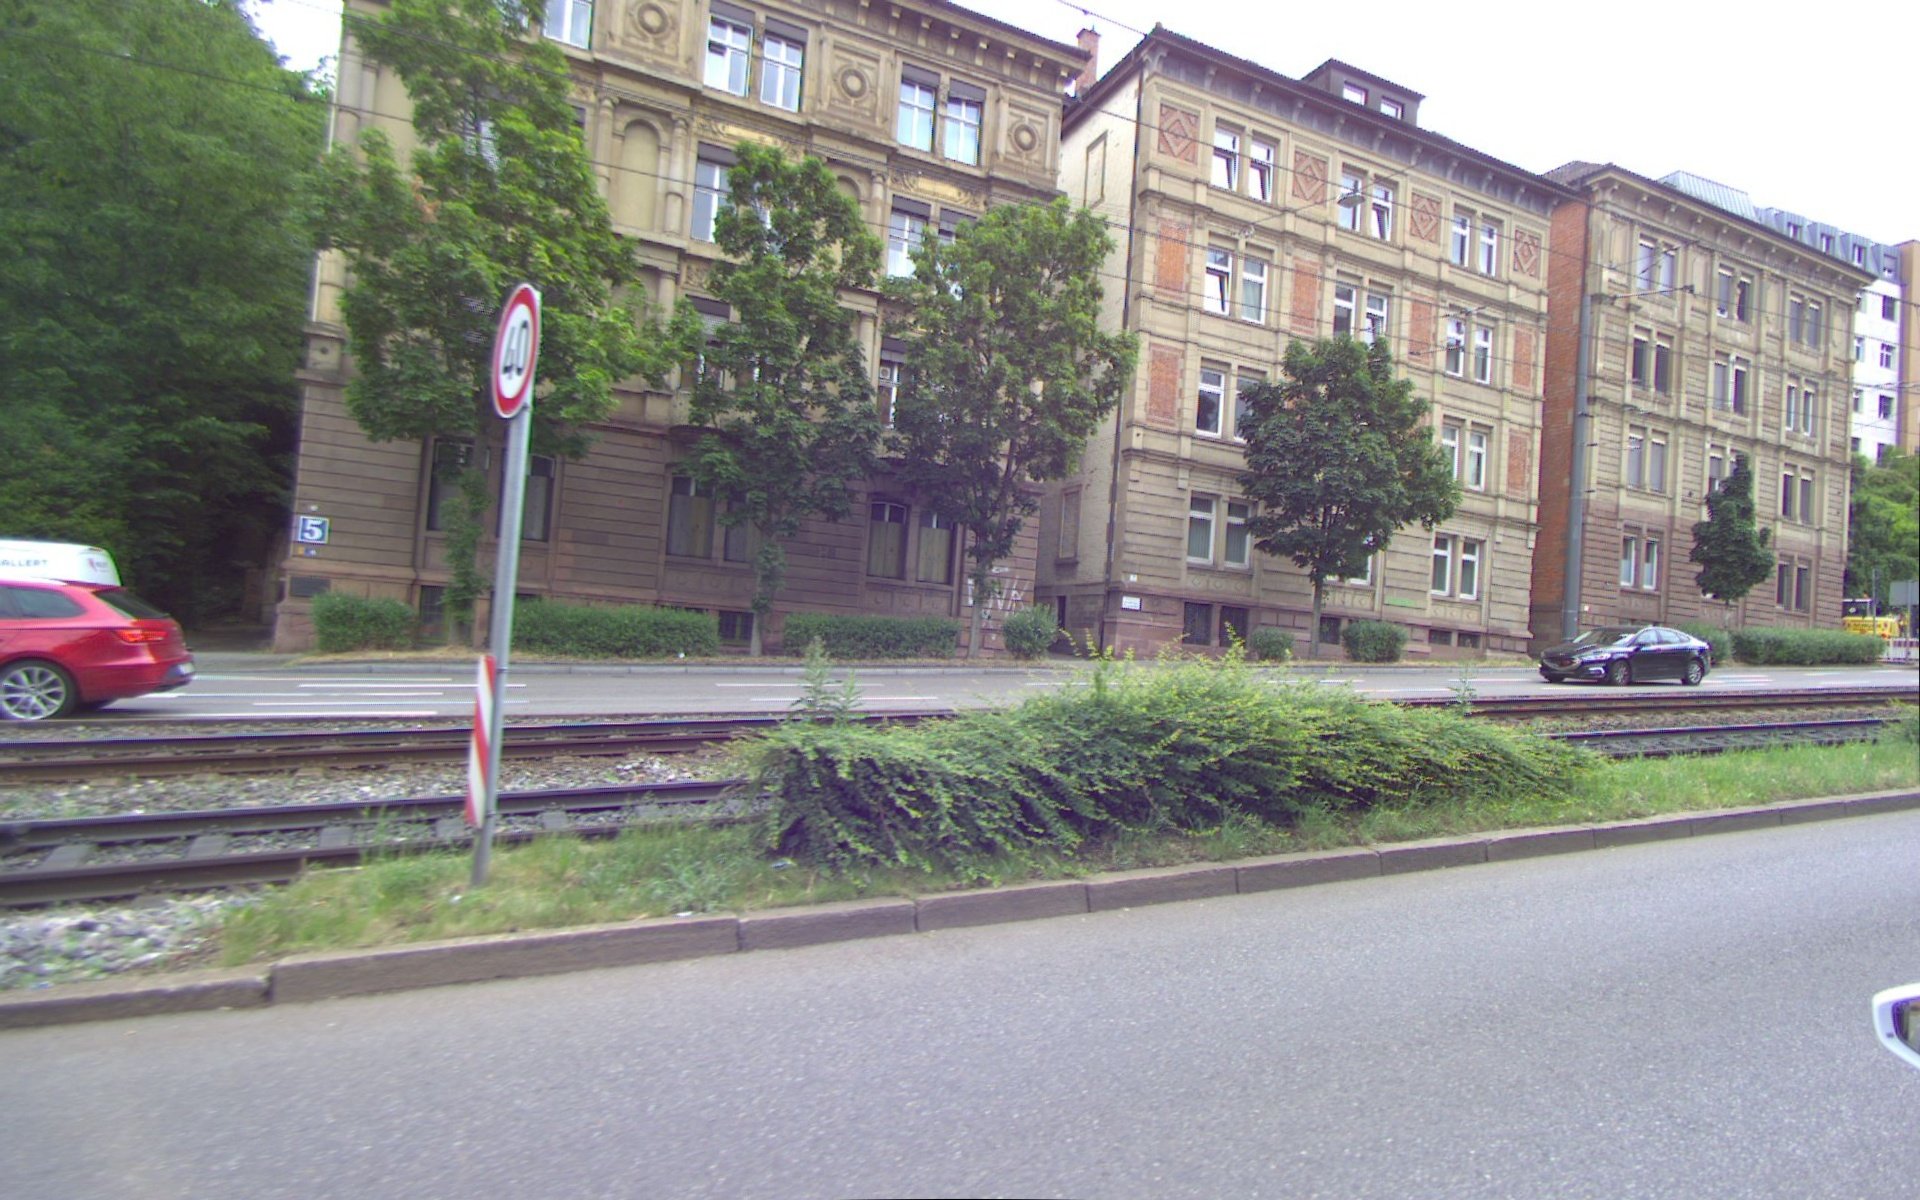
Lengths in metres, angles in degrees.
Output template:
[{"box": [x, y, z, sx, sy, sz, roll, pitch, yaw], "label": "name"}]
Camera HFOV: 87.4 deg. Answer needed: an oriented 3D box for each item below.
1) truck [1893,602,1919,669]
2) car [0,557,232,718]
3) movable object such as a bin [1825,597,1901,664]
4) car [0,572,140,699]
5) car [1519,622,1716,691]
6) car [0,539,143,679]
[{"box": [40.711, 1.522, 39.832, 7.058, 2.541, 2.910, 4, -6, -25], "label": "truck"}, {"box": [-10.257, 0.336, 10.145, 4.348, 1.539, 1.987, 2, -1, -26], "label": "car"}, {"box": [40.056, 1.335, 44.571, 2.006, 2.875, 1.984, 2, -1, -30], "label": "movable object such as a bin"}, {"box": [-12.517, 0.332, 11.604, 4.348, 1.446, 1.737, 3, -1, -26], "label": "car"}, {"box": [16.559, 1.355, 25.273, 4.878, 1.470, 1.814, 0, 2, -25], "label": "car"}, {"box": [-14.594, 0.034, 13.727, 4.928, 1.874, 1.987, 3, 1, -26], "label": "car"}]
